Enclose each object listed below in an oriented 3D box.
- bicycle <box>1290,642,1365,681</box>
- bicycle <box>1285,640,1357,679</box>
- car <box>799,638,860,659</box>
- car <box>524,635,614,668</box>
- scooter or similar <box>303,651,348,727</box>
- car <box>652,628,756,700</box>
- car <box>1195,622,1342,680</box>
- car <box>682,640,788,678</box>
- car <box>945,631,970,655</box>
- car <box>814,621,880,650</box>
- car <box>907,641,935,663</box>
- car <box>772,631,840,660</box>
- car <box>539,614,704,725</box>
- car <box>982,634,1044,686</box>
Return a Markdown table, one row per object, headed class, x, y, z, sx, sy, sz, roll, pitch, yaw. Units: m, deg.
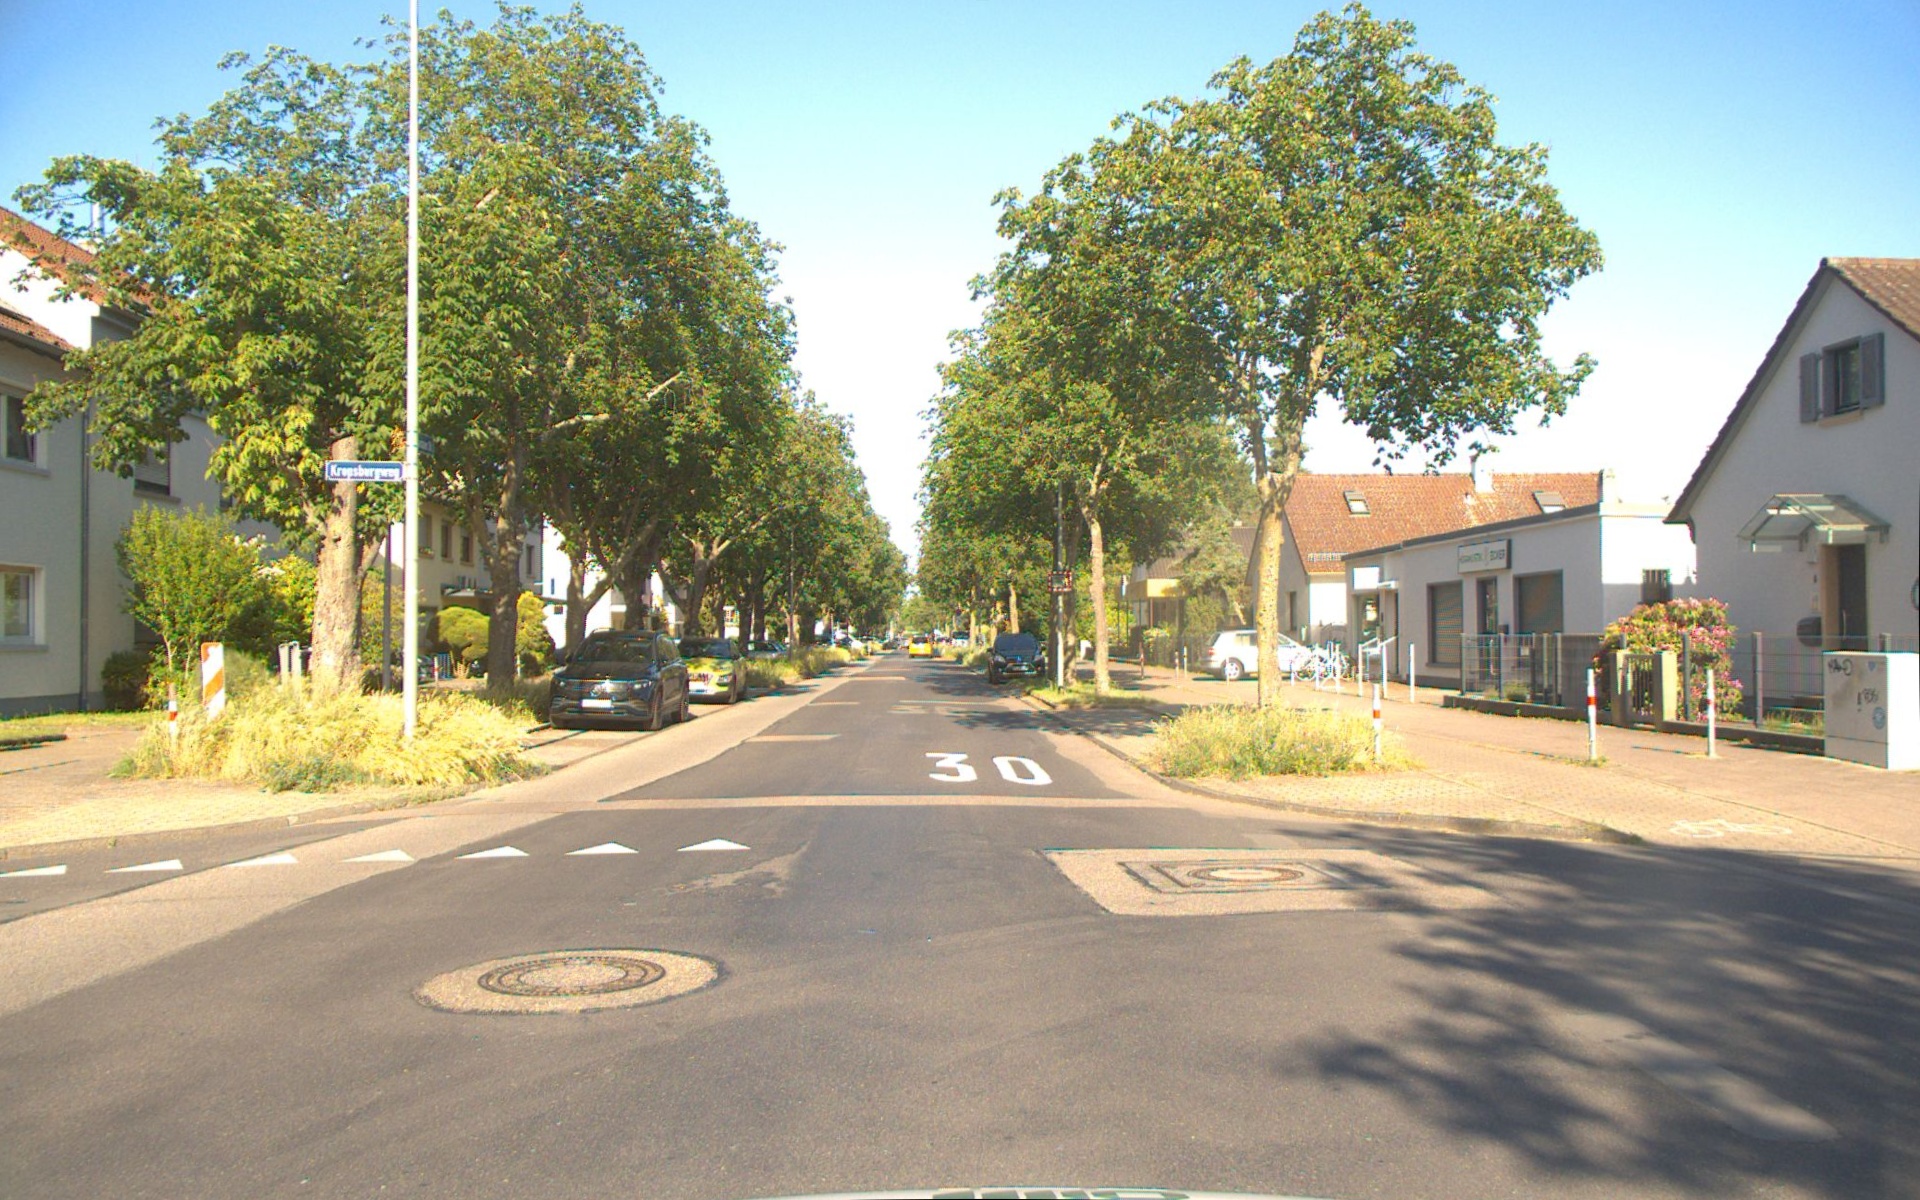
| class | x | y | z | sx | sy | sz | roll | pitch | yaw |
| --- | --- | --- | --- | --- | --- | --- | --- | --- | --- |
| bicycle | 10.209 | 1.706 | 45.960 | 1.919 | 1.016 | 0.576 | -2 | 0 | -3 |
| bicycle | 10.242 | 1.692 | 46.950 | 1.885 | 1.016 | 0.576 | -2 | 0 | -3 |
| car | -9.286 | 3.431 | 117.567 | 4.204 | 1.338 | 1.906 | 1 | 0 | -7 |
| car | -21.175 | 2.772 | 89.643 | 4.466 | 1.646 | 1.998 | 1 | 0 | -6 |
| scooter or similar | -8.939 | 1.244 | 23.326 | 0.329 | 1.018 | 0.996 | -1 | -1 | -5 |
| car | -6.250 | 1.586 | 40.822 | 1.899 | 1.637 | 4.382 | 1 | -2 | -1 |
| car | 9.112 | 1.494 | 49.013 | 3.907 | 1.515 | 1.901 | -2 | 0 | -3 |
| car | -9.926 | 2.596 | 73.190 | 4.462 | 1.538 | 1.840 | 1 | 0 | -2 |
| car | -0.233 | 3.390 | 129.927 | 1.864 | 1.805 | 4.299 | 1 | -2 | -1 |
| car | -9.442 | 2.965 | 138.790 | 5.389 | 2.287 | 2.515 | 1 | 0 | -3 |
| car | -2.896 | 3.857 | 122.757 | 1.849 | 1.505 | 3.888 | 2 | -2 | 1 |
| car | -10.314 | 3.022 | 110.640 | 4.458 | 1.796 | 1.997 | 1 | 0 | -7 |
| car | -5.852 | 1.215 | 29.201 | 1.914 | 1.757 | 4.873 | 1 | -2 | -1 |
| car | 1.775 | 2.059 | 57.050 | 1.816 | 1.654 | 4.467 | -2 | -2 | -2 |
